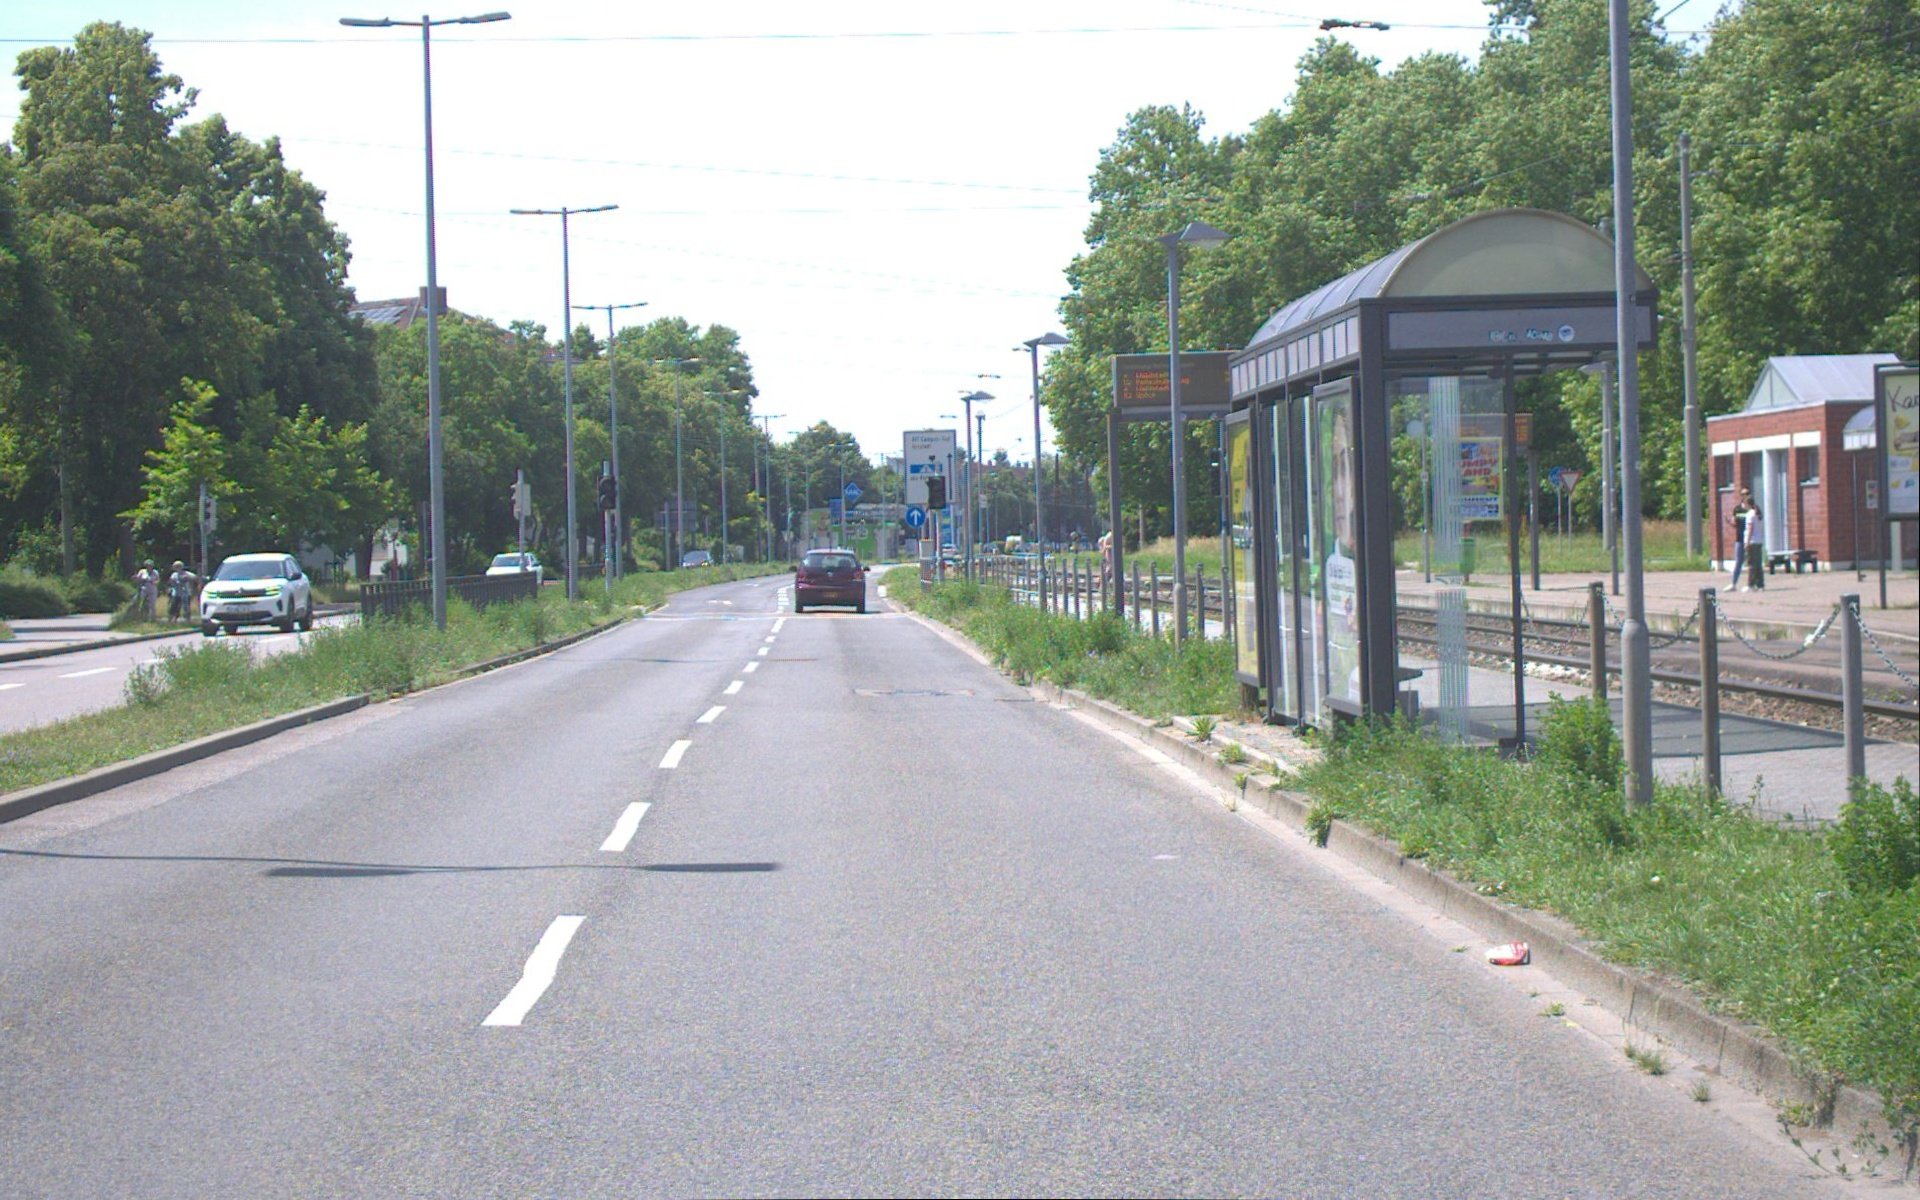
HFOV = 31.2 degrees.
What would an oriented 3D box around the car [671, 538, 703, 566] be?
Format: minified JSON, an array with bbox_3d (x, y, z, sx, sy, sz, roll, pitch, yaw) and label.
[{"bbox_3d":[-15.850,-2.790,199.777,1.756,1.538,4.162,-2,1,-4],"label":"car"}]

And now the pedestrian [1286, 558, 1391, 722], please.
[{"bbox_3d":[2.480,0.255,22.540,0.575,1.036,0.579,-2,1,-2],"label":"pedestrian"}]

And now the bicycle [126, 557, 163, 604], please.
[{"bbox_3d":[-19.052,-0.461,80.373,0.554,1.091,1.380,0,0,-1],"label":"bicycle"}]

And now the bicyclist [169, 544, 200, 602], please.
[{"bbox_3d":[-18.179,-0.641,80.580,0.544,1.341,0.755,-2,1,-3],"label":"bicyclist"}]

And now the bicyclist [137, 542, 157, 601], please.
[{"bbox_3d":[-19.030,-0.664,80.474,0.357,1.387,0.440,0,1,1],"label":"bicyclist"}]

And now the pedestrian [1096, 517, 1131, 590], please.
[{"bbox_3d":[3.690,-1.109,82.740,0.634,1.753,0.817,0,0,-15],"label":"pedestrian"}]

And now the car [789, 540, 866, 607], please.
[{"bbox_3d":[-3.055,-0.630,79.745,1.702,1.472,3.717,-2,1,-2],"label":"car"}]

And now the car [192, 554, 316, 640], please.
[{"bbox_3d":[-14.757,-0.064,72.033,1.859,1.752,4.480,0,0,-2],"label":"car"}]

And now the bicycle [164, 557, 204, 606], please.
[{"bbox_3d":[-18.193,-0.439,80.623,0.588,1.129,1.615,-2,1,-2],"label":"bicycle"}]

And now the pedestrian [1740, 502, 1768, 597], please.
[{"bbox_3d":[13.343,-0.848,57.771,0.360,1.591,0.483,0,0,1],"label":"pedestrian"}]

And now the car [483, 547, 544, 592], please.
[{"bbox_3d":[-16.704,-1.154,128.762,1.821,1.567,4.347,-2,1,-2],"label":"car"}]

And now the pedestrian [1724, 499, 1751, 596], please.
[{"bbox_3d":[13.175,-0.892,58.256,0.360,1.641,0.445,0,0,1],"label":"pedestrian"}]
